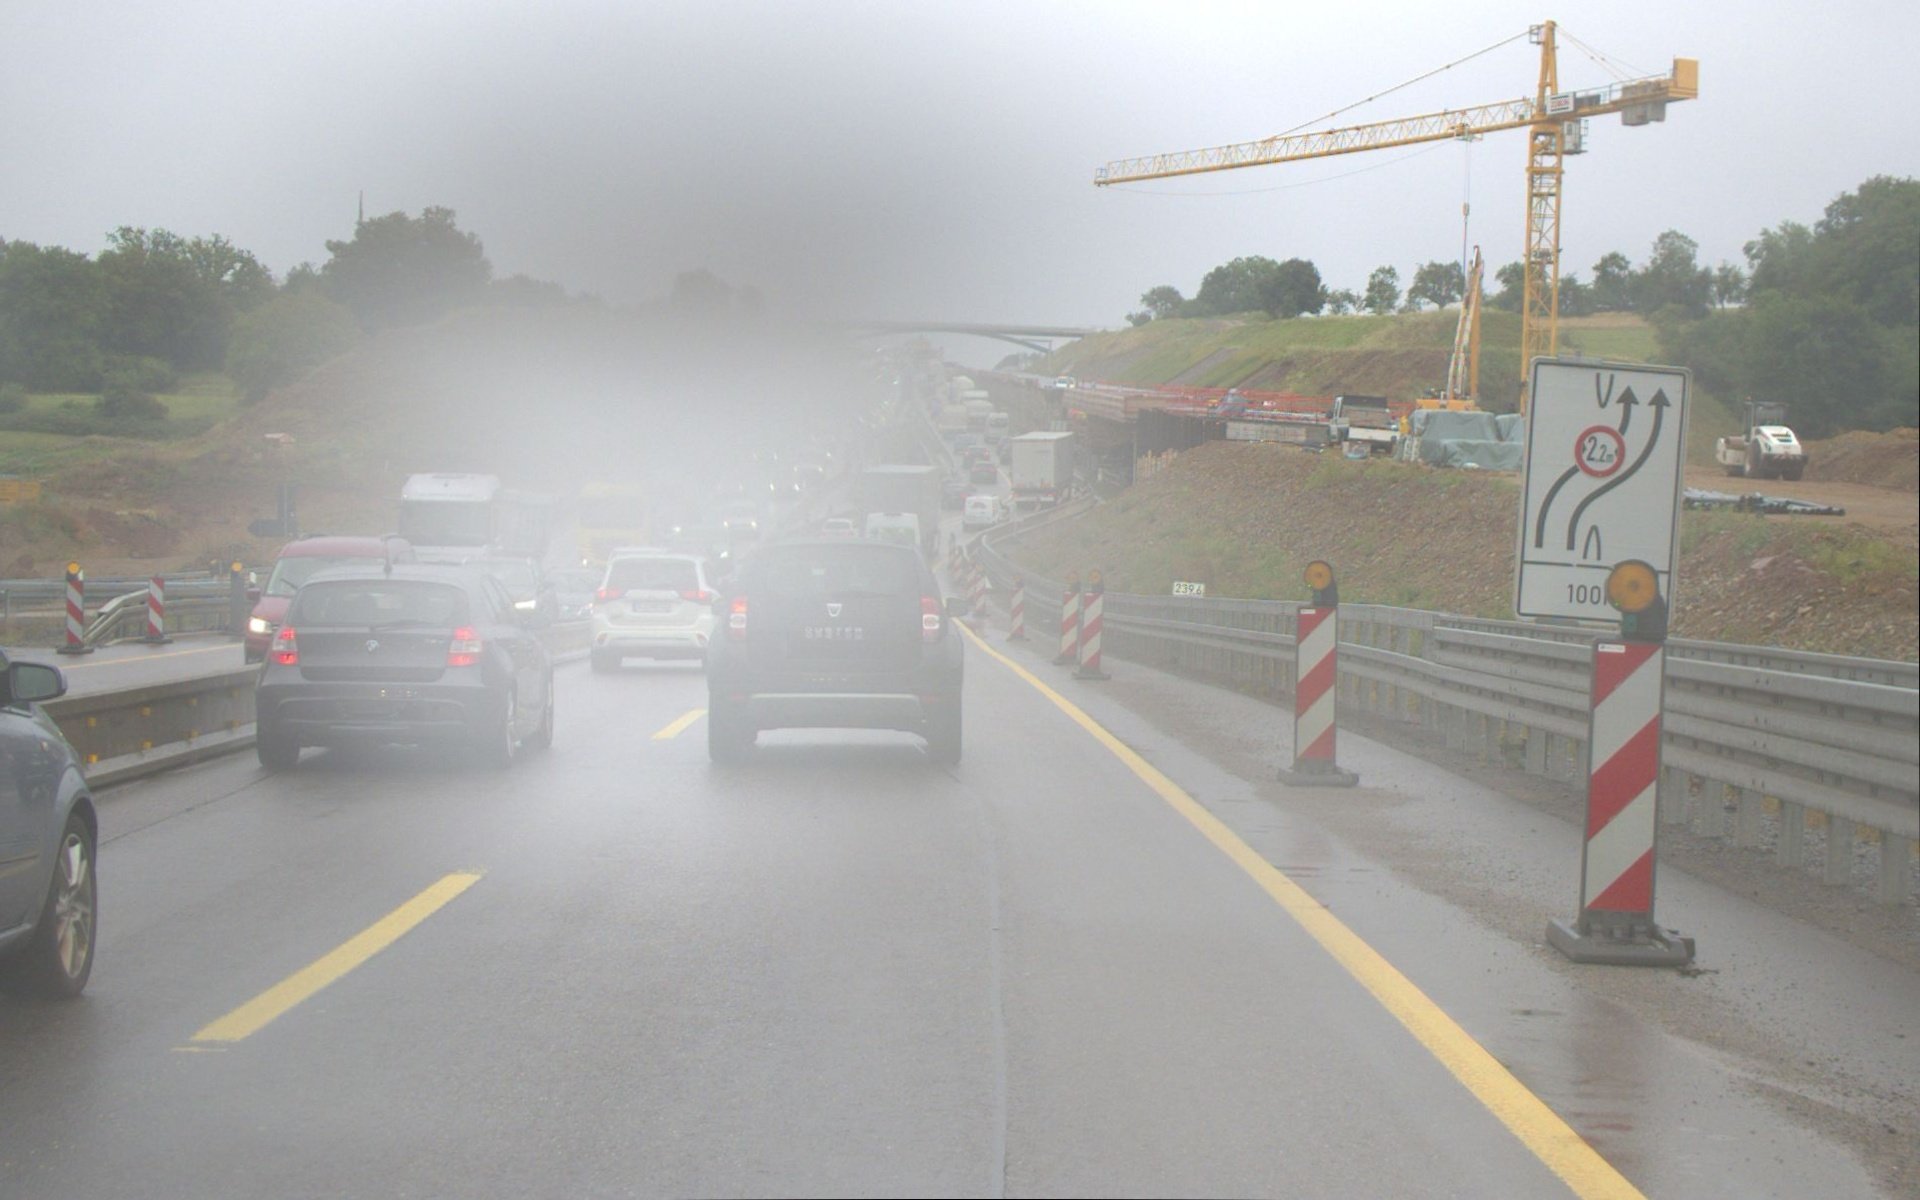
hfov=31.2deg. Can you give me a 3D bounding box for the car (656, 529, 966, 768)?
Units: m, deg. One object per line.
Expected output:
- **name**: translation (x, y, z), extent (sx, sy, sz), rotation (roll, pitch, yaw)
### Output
- **car**: translation (-1.039, 0.307, 25.474), extent (2.081, 1.595, 4.141), rotation (1, 1, -1)

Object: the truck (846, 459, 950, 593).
- **truck**: translation (-2.550, -3.051, 144.637), extent (3.102, 5.407, 9.441), rotation (1, 1, 6)

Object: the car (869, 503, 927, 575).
- **car**: translation (-2.199, -2.146, 121.756), extent (1.993, 2.476, 4.982), rotation (1, 1, -1)

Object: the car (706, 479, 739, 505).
- **car**: translation (-14.391, -6.523, 208.275), extent (1.787, 1.541, 4.001), rotation (1, 2, -2)

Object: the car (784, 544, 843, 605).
- **car**: translation (-5.303, -0.934, 124.963), extent (1.993, 2.155, 4.141), rotation (1, 1, -1)

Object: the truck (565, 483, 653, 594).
- **truck**: translation (-13.181, -2.308, 129.404), extent (2.749, 4.048, 6.148), rotation (1, 1, -1)

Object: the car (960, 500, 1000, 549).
- **car**: translation (1.035, -3.891, 178.859), extent (1.993, 2.476, 4.741), rotation (1, 1, 0)

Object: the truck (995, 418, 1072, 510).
- **truck**: translation (4.280, -7.974, 203.514), extent (3.803, 5.025, 12.923), rotation (1, 1, -2)

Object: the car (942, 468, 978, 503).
- **car**: translation (-0.009, -6.628, 199.042), extent (1.993, 2.006, 4.001), rotation (0, 2, -2)

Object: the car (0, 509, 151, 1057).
- **car**: translation (-3.775, 0.520, 9.795), extent (1.993, 1.595, 4.141), rotation (1, 1, -1)

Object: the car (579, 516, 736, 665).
- **car**: translation (-4.251, -0.154, 48.846), extent (1.993, 2.007, 3.894), rotation (1, 1, -2)

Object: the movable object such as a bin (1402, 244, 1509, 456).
- **movable object such as a bin**: translation (27.002, -13.413, 186.689), extent (4.721, 10.805, 10.297), rotation (1, 1, 13)

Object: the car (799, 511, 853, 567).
- **car**: translation (-5.241, -2.391, 135.290), extent (1.993, 2.155, 4.141), rotation (1, 1, -1)

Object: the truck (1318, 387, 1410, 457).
- **truck**: translation (16.351, -7.186, 139.428), extent (2.645, 2.546, 6.985), rotation (1, 1, -2)

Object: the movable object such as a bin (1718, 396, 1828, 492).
- **movable object such as a bin**: translation (32.325, -6.173, 136.915), extent (2.340, 3.587, 6.562), rotation (1, 1, -4)

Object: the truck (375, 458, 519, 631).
- **truck**: translation (-12.005, -1.293, 80.814), extent (2.686, 3.913, 5.274), rotation (0, 1, -1)

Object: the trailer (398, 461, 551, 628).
- **trailer**: translation (-12.125, -1.375, 86.631), extent (2.686, 3.950, 9.820), rotation (0, 1, -1)

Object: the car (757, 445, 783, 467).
- **car**: translation (-13.749, -10.431, 248.998), extent (1.786, 1.533, 4.312), rotation (0, 1, -1)

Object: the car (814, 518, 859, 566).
- **car**: translation (-5.684, -2.669, 158.762), extent (1.993, 2.155, 4.141), rotation (1, 1, -1)

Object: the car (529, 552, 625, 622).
- **car**: translation (-8.290, -0.303, 74.607), extent (1.709, 1.448, 4.000), rotation (1, 1, -1)

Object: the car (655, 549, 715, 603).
- **car**: translation (-9.476, -0.831, 118.739), extent (1.787, 1.799, 5.190), rotation (0, 1, -1)

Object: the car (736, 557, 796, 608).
- **car**: translation (-7.023, -0.658, 124.989), extent (1.993, 1.753, 4.688), rotation (1, 1, -1)

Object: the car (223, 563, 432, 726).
- **car**: translation (-7.690, 0.493, 42.230), extent (1.845, 1.742, 4.845), rotation (-2, 2, -3)

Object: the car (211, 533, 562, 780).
- **car**: translation (-4.006, 0.345, 24.650), extent (1.993, 1.595, 4.141), rotation (1, 1, -3)
